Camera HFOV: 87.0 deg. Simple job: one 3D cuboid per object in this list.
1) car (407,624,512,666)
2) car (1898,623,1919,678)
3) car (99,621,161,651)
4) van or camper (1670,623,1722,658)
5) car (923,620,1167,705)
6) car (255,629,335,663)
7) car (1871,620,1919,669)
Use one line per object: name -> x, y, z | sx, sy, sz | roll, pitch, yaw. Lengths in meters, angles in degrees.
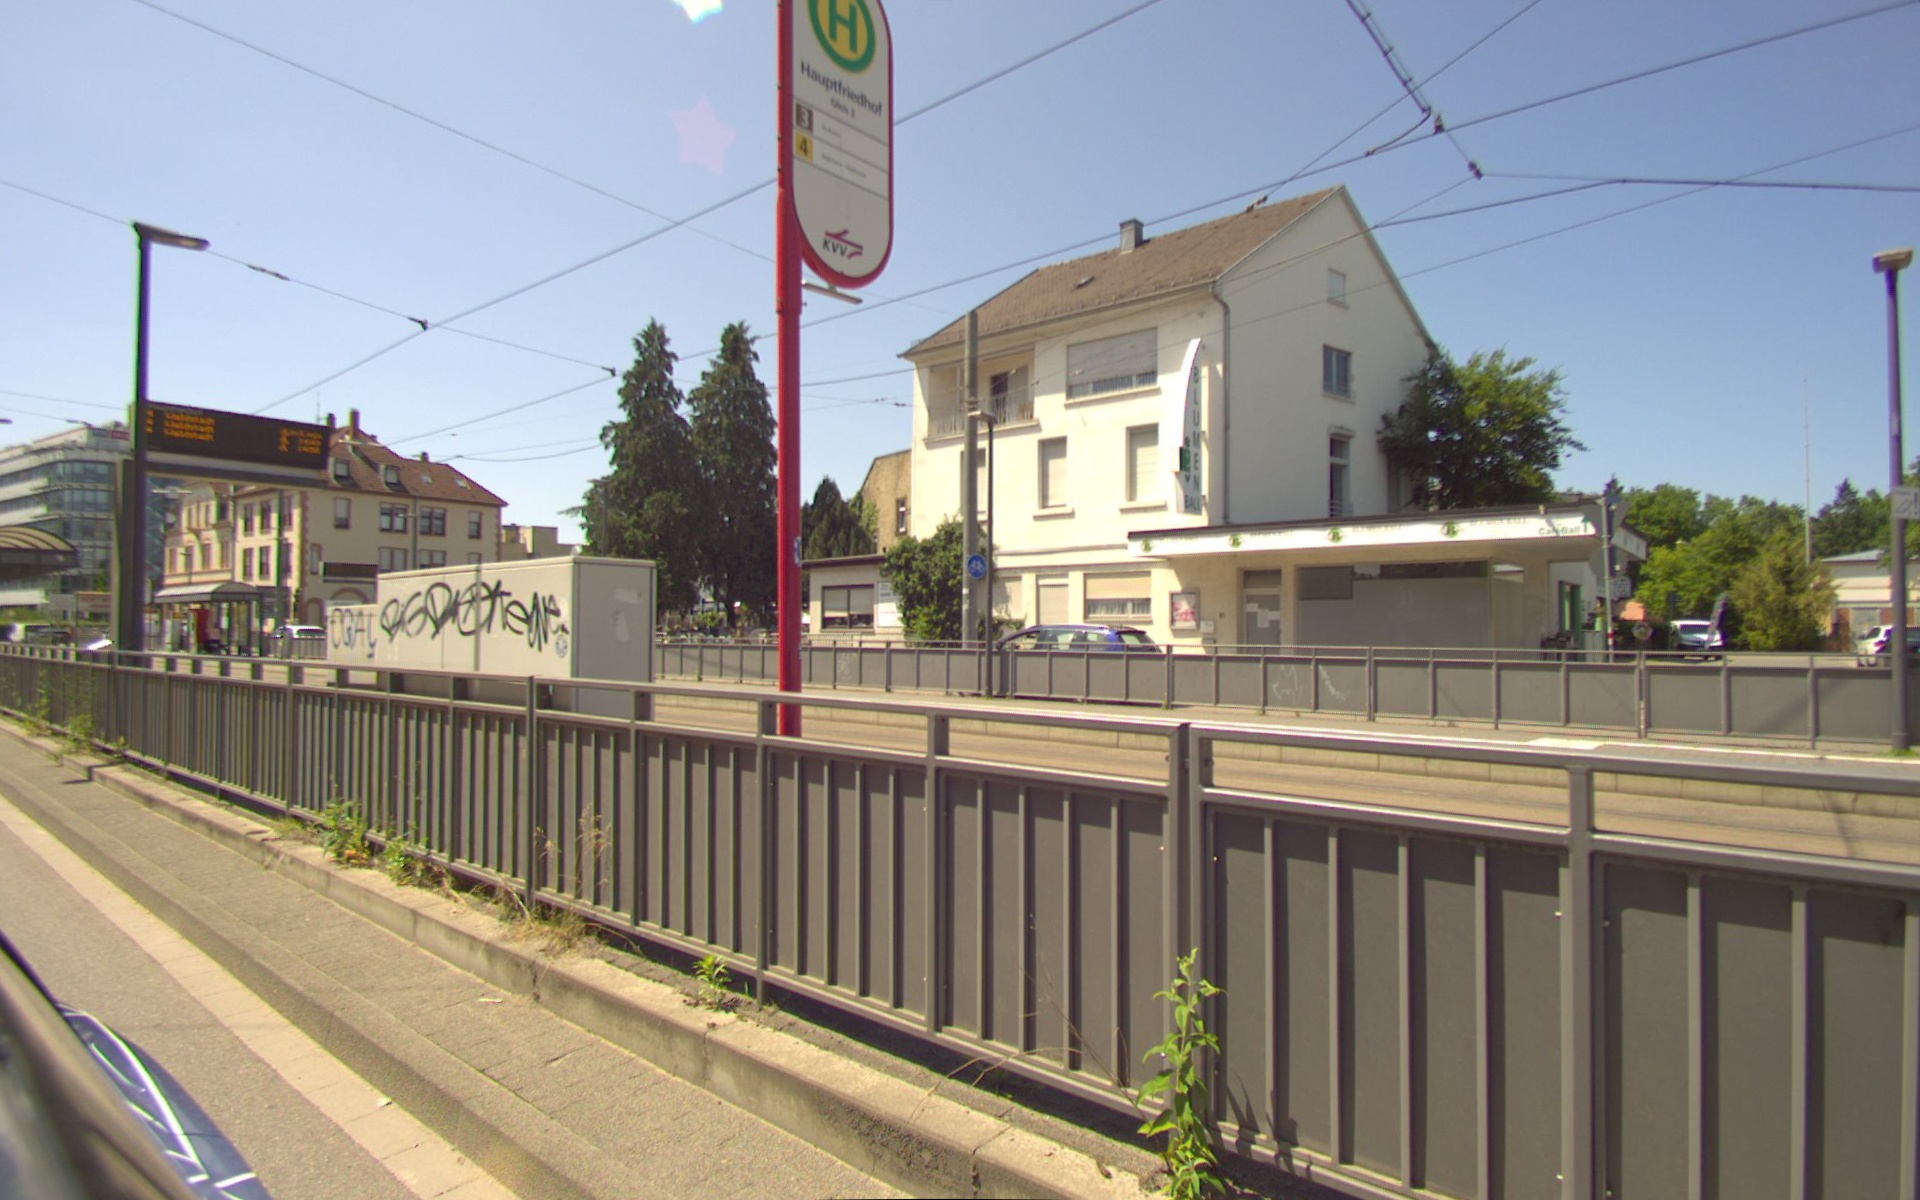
car -> -17.709, 1.584, 35.738 | 4.172, 1.406, 1.799 | -1, -3, 40
car -> 25.773, 1.334, 26.500 | 1.644, 1.381, 3.760 | -2, -3, 42
car -> -51.727, 2.236, 63.031 | 4.689, 1.830, 1.839 | -1, -3, 36
van or camper -> 34.669, 1.901, 47.764 | 1.686, 1.578, 3.784 | -1, -2, 32
car -> 1.534, 1.137, 19.440 | 4.476, 1.453, 1.837 | -2, -2, 41
car -> -30.192, 2.065, 45.917 | 4.620, 1.479, 1.799 | -1, -3, 41
car -> 29.609, 1.409, 31.584 | 1.644, 1.457, 3.761 | -2, -3, 41
